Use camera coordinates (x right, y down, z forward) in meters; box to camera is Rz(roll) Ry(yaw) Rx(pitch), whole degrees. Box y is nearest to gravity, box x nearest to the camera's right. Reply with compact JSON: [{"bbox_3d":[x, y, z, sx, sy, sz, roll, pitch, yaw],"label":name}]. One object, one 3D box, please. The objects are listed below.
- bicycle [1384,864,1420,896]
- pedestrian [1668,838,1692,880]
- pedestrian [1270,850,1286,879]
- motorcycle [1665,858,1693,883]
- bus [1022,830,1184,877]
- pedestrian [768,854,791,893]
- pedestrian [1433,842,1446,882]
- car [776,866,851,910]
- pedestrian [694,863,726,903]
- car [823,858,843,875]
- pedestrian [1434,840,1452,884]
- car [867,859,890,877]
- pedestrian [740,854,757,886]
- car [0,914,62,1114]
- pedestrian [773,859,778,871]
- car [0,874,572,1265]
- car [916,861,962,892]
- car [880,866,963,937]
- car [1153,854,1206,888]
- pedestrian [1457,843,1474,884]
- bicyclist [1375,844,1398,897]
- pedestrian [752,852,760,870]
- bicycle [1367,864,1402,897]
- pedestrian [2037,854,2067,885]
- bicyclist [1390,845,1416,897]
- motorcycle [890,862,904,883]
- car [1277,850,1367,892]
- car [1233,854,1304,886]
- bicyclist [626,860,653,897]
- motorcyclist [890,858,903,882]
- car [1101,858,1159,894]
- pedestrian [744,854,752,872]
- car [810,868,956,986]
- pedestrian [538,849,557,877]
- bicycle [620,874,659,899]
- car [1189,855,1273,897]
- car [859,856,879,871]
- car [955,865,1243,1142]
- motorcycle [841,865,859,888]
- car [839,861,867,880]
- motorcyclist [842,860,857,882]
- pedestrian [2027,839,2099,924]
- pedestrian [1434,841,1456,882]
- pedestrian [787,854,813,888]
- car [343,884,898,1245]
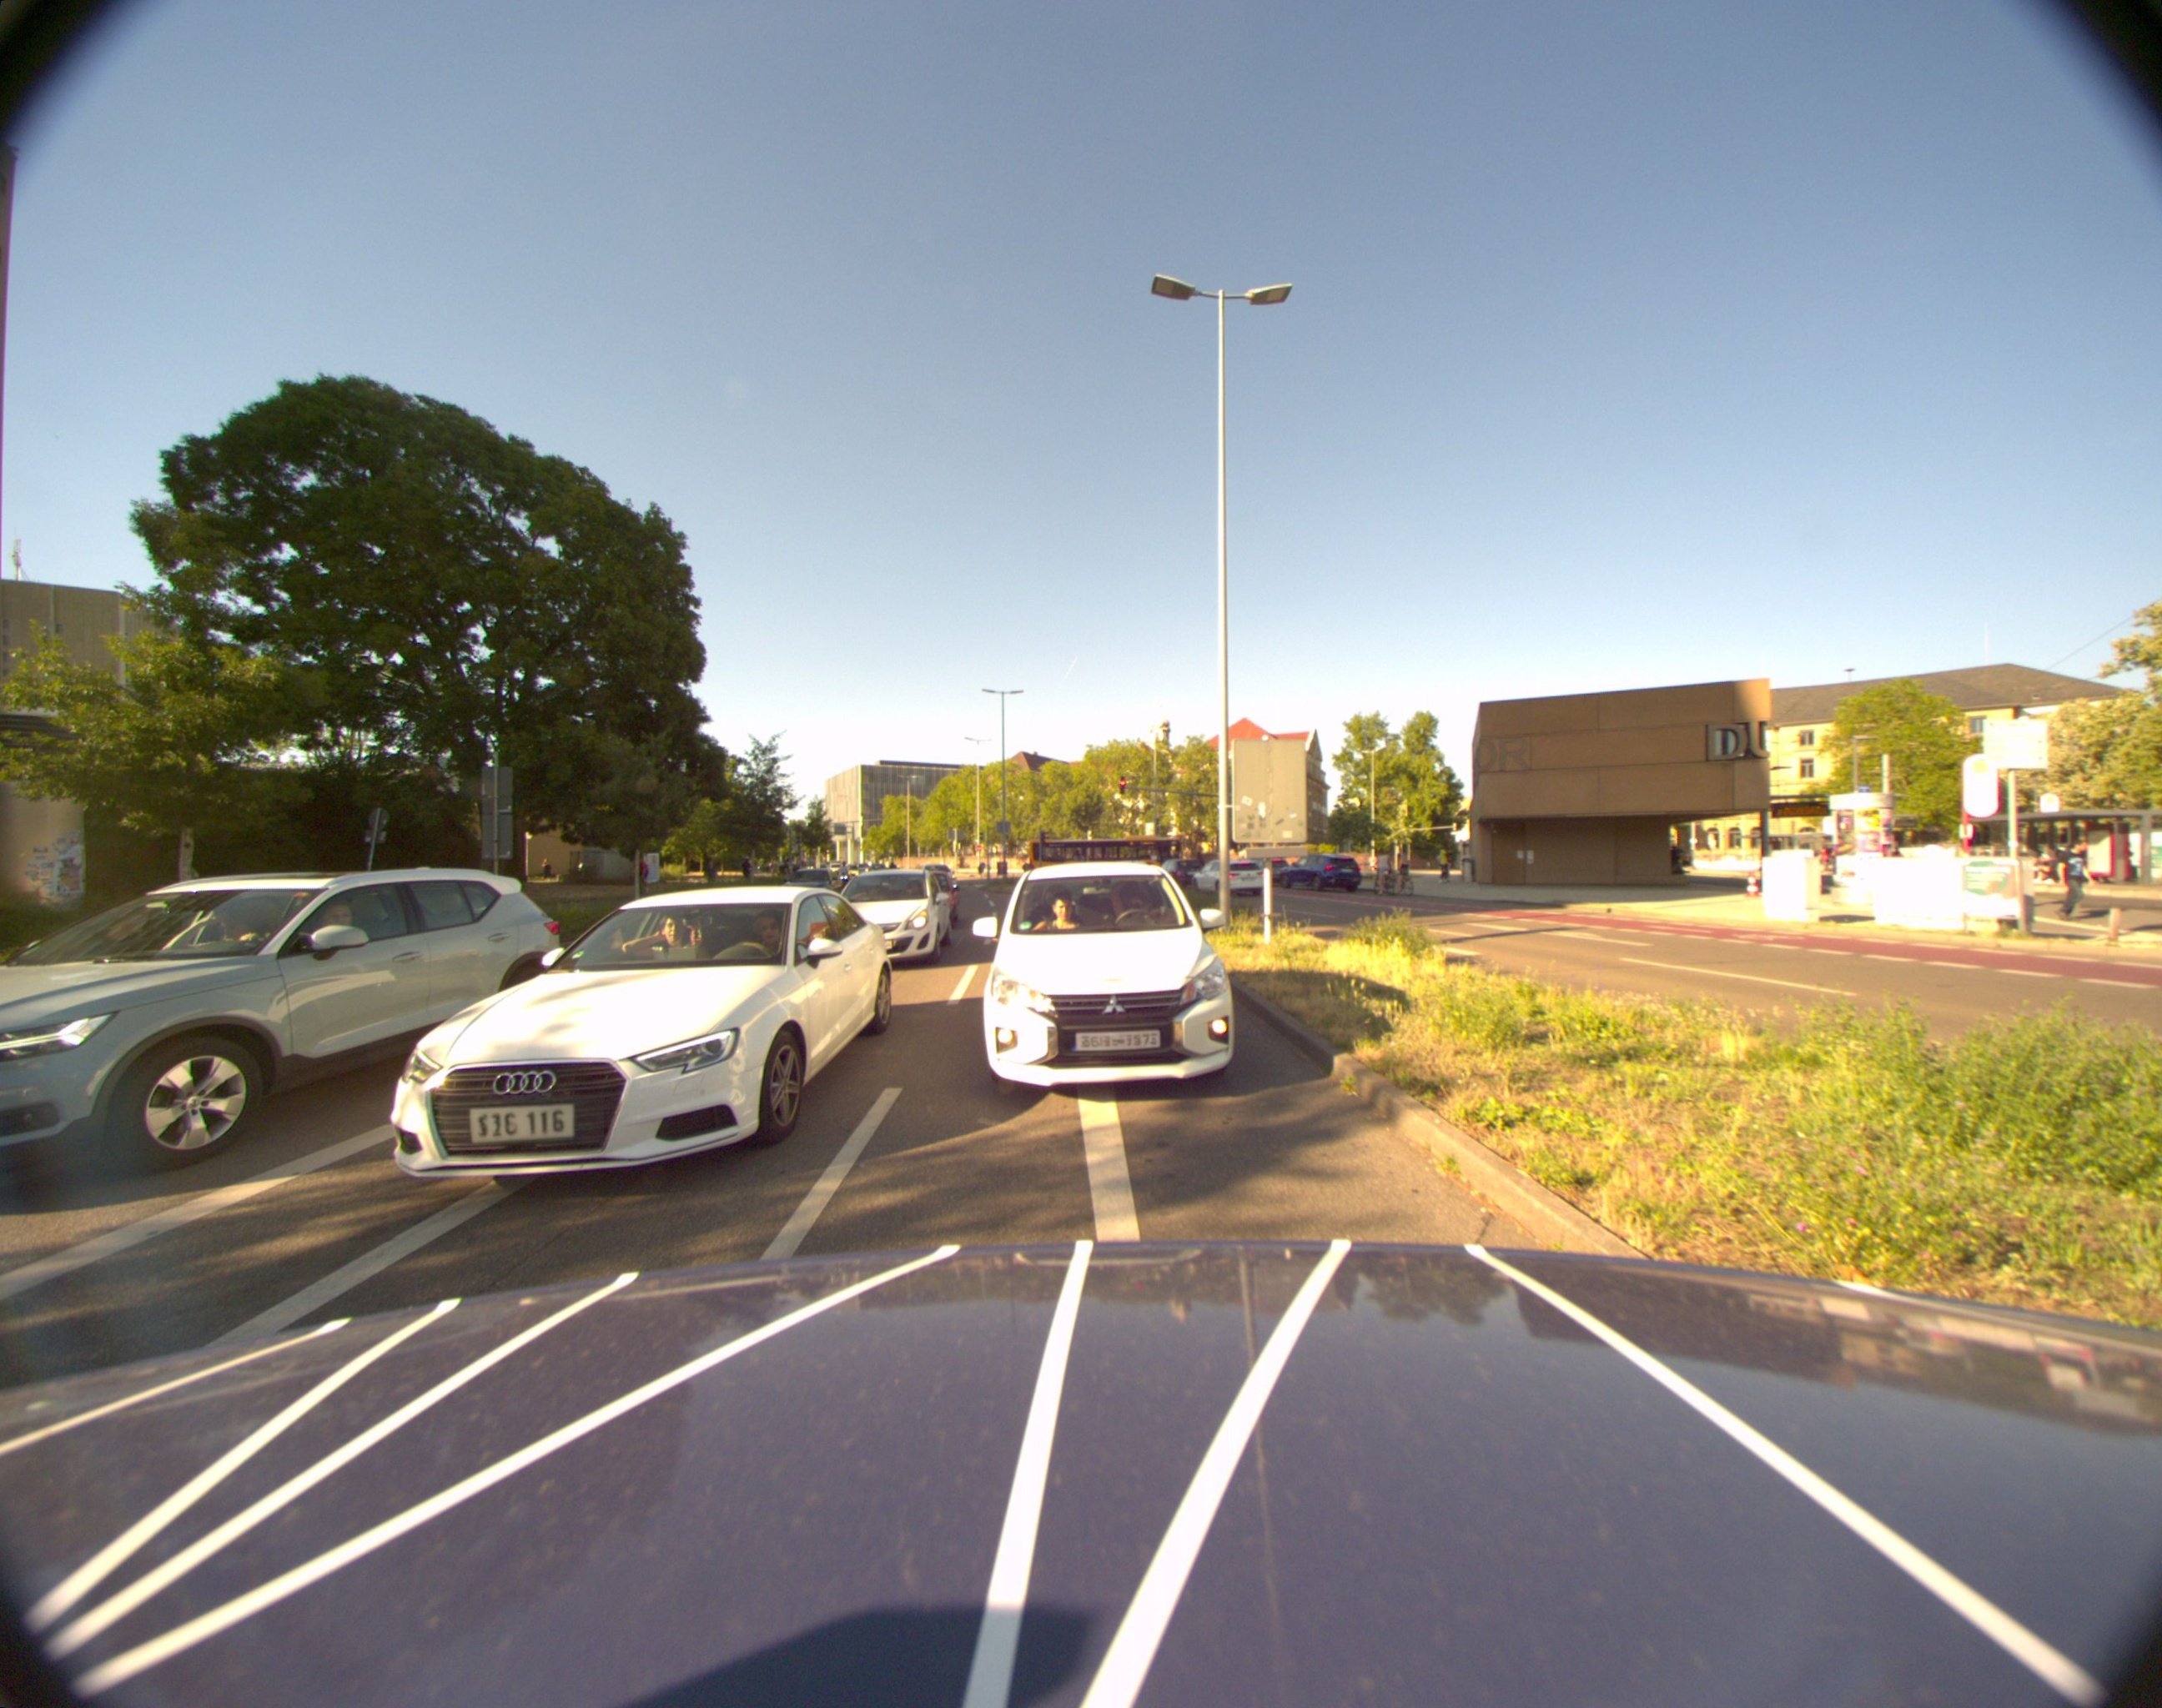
[{"bbox_3d":[12.468,0.984,29.509,0.464,1.185,1.395,-3,1,-17],"label":"bicycle"},{"bbox_3d":[28.932,0.236,36.712,0.780,2.002,0.771,-3,2,-42],"label":"pedestrian"},{"bbox_3d":[12.890,0.692,49.674,0.797,1.886,0.612,0,1,40],"label":"pedestrian"},{"bbox_3d":[26.204,0.709,33.290,0.948,1.061,0.331,-1,1,39],"label":"motorcycle"},{"bbox_3d":[1.824,-0.011,60.613,12.530,3.193,3.088,-2,1,6],"label":"bus"},{"bbox_3d":[-16.021,1.034,40.392,0.895,2.002,0.881,-2,1,-10],"label":"pedestrian"},{"bbox_3d":[18.231,0.401,38.665,0.467,2.002,0.657,-2,1,17],"label":"pedestrian"},{"bbox_3d":[-10.567,1.304,30.334,1.756,1.451,4.186,-2,1,-5],"label":"car"},{"bbox_3d":[-16.838,1.301,34.494,1.010,1.711,0.884,-2,1,-10],"label":"pedestrian"},{"bbox_3d":[-26.006,1.325,79.681,1.748,1.696,3.993,-1,0,-21],"label":"car"},{"bbox_3d":[16.798,0.371,35.240,0.655,2.002,0.469,-2,1,20],"label":"pedestrian"},{"bbox_3d":[-19.192,1.300,71.811,1.748,1.536,3.993,-1,0,-20],"label":"car"},{"bbox_3d":[-17.343,0.831,39.629,0.596,1.585,0.594,-2,1,-8],"label":"pedestrian"},{"bbox_3d":[-8.758,1.241,3.886,1.628,1.451,4.040,-2,1,-2],"label":"car"},{"bbox_3d":[-43.159,1.601,107.273,0.399,1.676,0.483,-1,1,1],"label":"pedestrian"},{"bbox_3d":[-5.750,1.053,5.260,1.628,1.611,4.223,-2,1,-2],"label":"car"},{"bbox_3d":[-7.587,1.134,40.346,1.758,1.451,4.182,-2,1,-19],"label":"car"},{"bbox_3d":[-3.896,1.098,19.099,1.628,1.451,4.039,-2,1,-7],"label":"car"},{"bbox_3d":[4.771,0.800,37.388,1.756,1.451,4.187,-2,1,-4],"label":"car"},{"bbox_3d":[19.089,0.456,37.728,0.655,2.002,0.469,-2,1,20],"label":"pedestrian"},{"bbox_3d":[11.764,0.637,29.242,0.611,2.002,0.565,-1,1,-15],"label":"bicyclist"},{"bbox_3d":[-28.289,0.599,66.162,0.548,1.597,0.603,-3,1,-19],"label":"pedestrian"},{"bbox_3d":[11.725,1.014,29.366,0.464,1.185,1.395,-3,1,-17],"label":"bicycle"},{"bbox_3d":[39.005,0.616,30.524,0.539,1.180,0.659,-2,1,29],"label":"pedestrian"},{"bbox_3d":[12.475,0.645,29.409,0.611,2.002,0.708,-1,1,-15],"label":"bicyclist"},{"bbox_3d":[-12.312,1.208,50.844,0.718,1.297,2.232,-2,1,-11],"label":"motorcycle"},{"bbox_3d":[10.431,0.706,33.223,1.757,1.680,4.183,-1,0,-14],"label":"car"},{"bbox_3d":[9.497,0.792,38.905,1.850,1.483,4.388,1,0,-10],"label":"car"},{"bbox_3d":[-18.775,1.030,32.322,0.617,1.551,0.870,-2,1,-8],"label":"bicyclist"},{"bbox_3d":[-12.263,1.053,50.615,0.711,1.581,0.689,-2,1,-9],"label":"motorcyclist"},{"bbox_3d":[2.221,0.988,35.656,1.757,1.451,4.185,-2,1,-10],"label":"car"},{"bbox_3d":[-28.877,0.752,65.861,0.548,1.521,0.603,-3,1,-19],"label":"pedestrian"},{"bbox_3d":[-3.074,1.050,12.582,1.628,1.451,4.039,-2,1,-5],"label":"car"},{"bbox_3d":[-38.643,0.661,55.015,0.929,2.002,0.754,-3,1,-27],"label":"pedestrian"},{"bbox_3d":[-18.772,1.370,32.337,0.660,0.958,2.033,0,1,-7],"label":"bicycle"},{"bbox_3d":[6.059,0.832,31.223,1.850,1.483,4.388,-2,1,-10],"label":"car"},{"bbox_3d":[-24.396,1.091,87.369,1.748,1.696,3.993,-1,0,-21],"label":"car"},{"bbox_3d":[0.056,0.895,6.436,1.628,1.451,4.040,-2,1,-2],"label":"car"},{"bbox_3d":[-14.234,1.359,46.851,0.718,1.297,2.233,-2,1,-9],"label":"motorcycle"},{"bbox_3d":[-19.366,1.388,64.590,1.746,1.516,3.996,-1,0,-9],"label":"car"},{"bbox_3d":[-14.236,1.023,46.739,0.718,1.297,0.735,-2,1,-10],"label":"motorcyclist"},{"bbox_3d":[20.678,0.573,16.008,0.713,1.748,0.583,-2,1,20],"label":"pedestrian"},{"bbox_3d":[17.879,0.356,37.361,0.777,2.002,0.773,-2,1,13],"label":"pedestrian"},{"bbox_3d":[-16.866,1.009,45.588,1.143,2.002,1.285,-2,1,-10],"label":"pedestrian"},{"bbox_3d":[-2.554,1.037,5.393,1.628,1.396,3.832,-2,1,-2],"label":"car"}]
